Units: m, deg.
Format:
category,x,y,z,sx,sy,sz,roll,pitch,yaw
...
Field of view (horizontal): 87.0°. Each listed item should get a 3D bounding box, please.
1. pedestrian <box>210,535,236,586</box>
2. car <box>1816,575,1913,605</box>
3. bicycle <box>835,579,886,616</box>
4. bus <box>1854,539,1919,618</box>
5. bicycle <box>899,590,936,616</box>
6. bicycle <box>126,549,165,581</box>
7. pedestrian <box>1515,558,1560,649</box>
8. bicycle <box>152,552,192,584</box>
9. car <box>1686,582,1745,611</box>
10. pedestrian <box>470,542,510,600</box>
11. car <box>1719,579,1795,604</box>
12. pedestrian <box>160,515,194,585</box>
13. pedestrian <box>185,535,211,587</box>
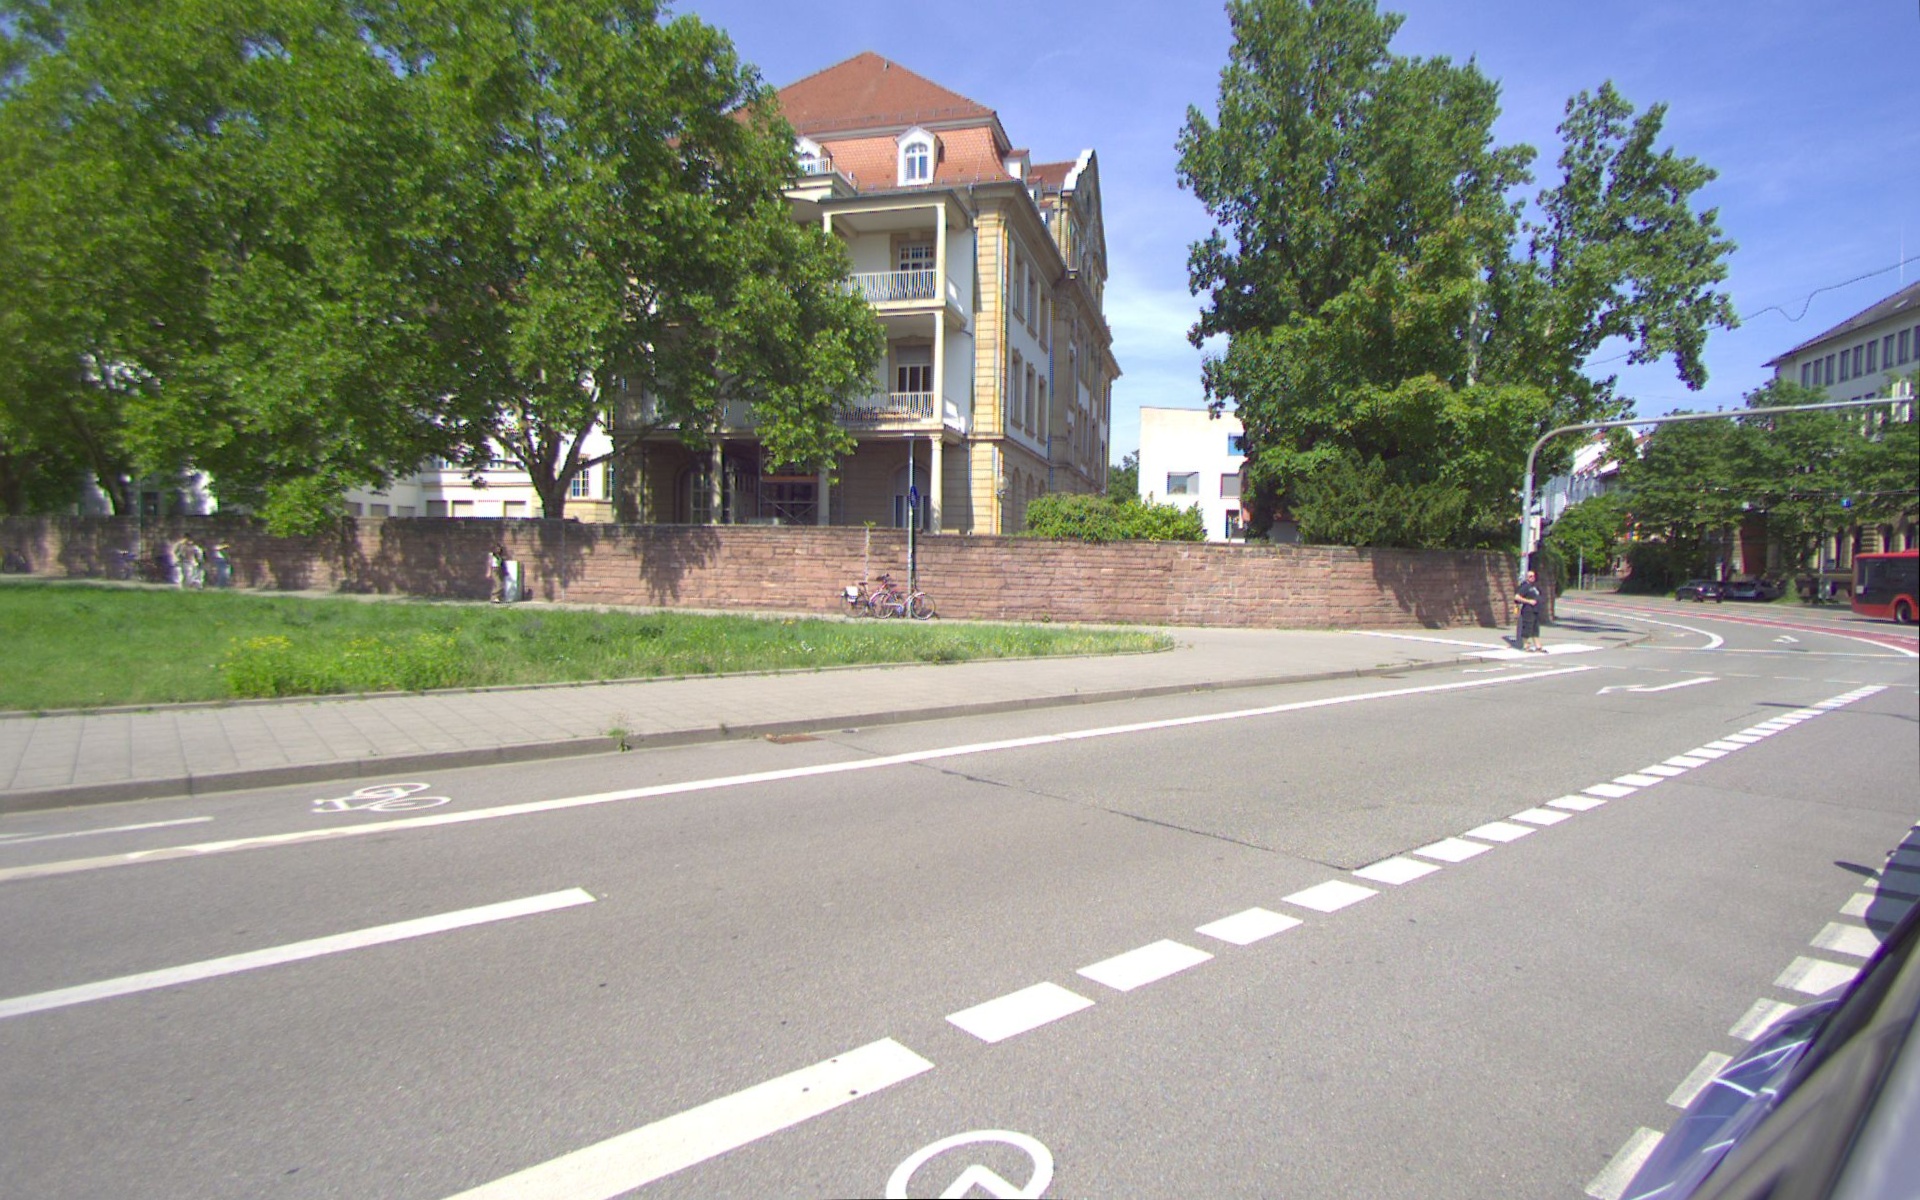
category,x,y,z,sx,sy,sz,roll,pitch,yaw
pedestrian,-23.370,-1.255,32.080,0.700,1.597,0.516,3,3,41
car,55.907,-0.619,62.627,3.940,1.682,1.993,0,3,14
bicycle,-2.510,-0.056,25.462,1.202,0.894,0.395,1,2,-21
bus,39.073,-0.832,37.606,3.085,3.133,12.368,0,1,12
bicycle,-1.083,0.078,25.749,0.929,0.609,0.275,1,2,-2
bicycle,-27.809,-1.192,34.534,1.432,1.046,0.444,3,2,24
pedestrian,13.280,0.069,23.287,0.790,2.038,0.608,2,2,35
bicycle,-26.462,-1.078,33.966,1.432,1.046,0.444,3,2,24
car,51.262,-0.280,68.763,1.973,1.915,3.979,0,1,17
pedestrian,-12.928,-0.800,27.844,0.900,1.567,0.501,2,2,13
car,59.995,-0.641,76.242,3.941,1.682,1.993,0,3,14
pedestrian,-23.116,-1.477,29.888,0.586,2.038,0.522,1,2,9
pedestrian,-23.696,-1.210,31.460,0.700,1.597,0.516,3,3,41
